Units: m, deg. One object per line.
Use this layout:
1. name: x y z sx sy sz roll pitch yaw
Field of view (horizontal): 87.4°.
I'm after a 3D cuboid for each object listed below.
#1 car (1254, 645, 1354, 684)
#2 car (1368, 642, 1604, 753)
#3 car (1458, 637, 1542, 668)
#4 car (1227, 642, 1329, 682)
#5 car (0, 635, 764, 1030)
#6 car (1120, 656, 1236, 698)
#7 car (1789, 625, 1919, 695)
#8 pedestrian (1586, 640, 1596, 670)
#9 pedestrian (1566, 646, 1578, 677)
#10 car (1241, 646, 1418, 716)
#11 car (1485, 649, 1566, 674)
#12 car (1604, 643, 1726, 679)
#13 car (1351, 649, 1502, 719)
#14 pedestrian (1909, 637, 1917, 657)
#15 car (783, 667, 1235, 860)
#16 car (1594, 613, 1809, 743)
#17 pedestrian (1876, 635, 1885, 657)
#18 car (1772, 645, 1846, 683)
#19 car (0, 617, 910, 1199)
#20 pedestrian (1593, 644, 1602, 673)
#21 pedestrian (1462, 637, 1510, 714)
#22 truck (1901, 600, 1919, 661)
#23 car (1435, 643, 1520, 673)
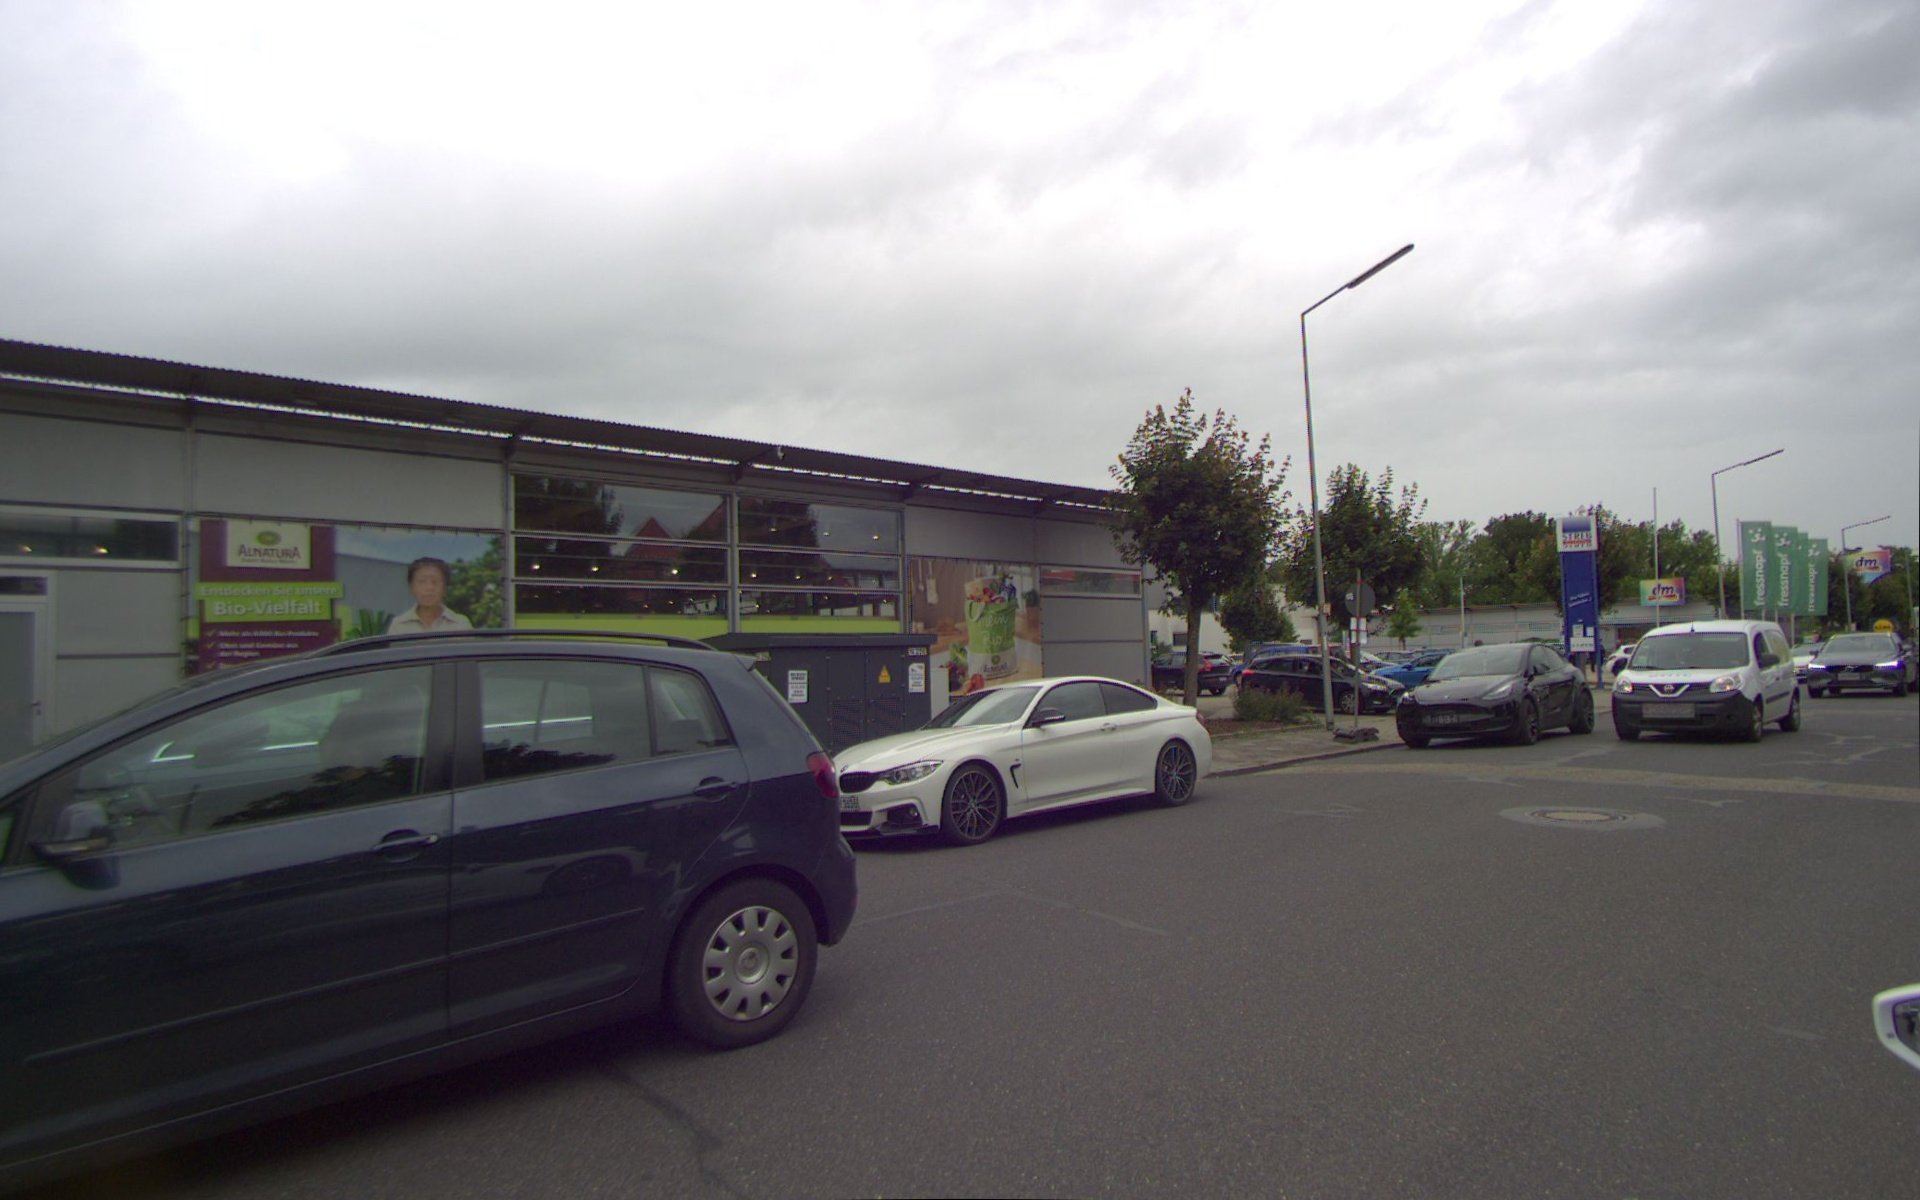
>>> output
1. car: 15.850 3.000 46.434 1.861 1.690 3.955 1 -4 -40
2. car: 8.819 1.581 16.684 4.369 1.545 1.931 2 -8 -42
3. car: 32.137 3.143 59.867 1.861 1.690 3.955 1 -4 -40
4. car: 14.121 2.779 44.773 1.861 1.690 3.955 1 -4 -40
5. car: -3.747 1.165 6.079 4.690 1.712 1.852 1 -8 -40
6. car: 8.363 2.988 38.750 3.939 1.504 1.869 -4 -5 38
7. car: 23.958 1.587 26.792 4.457 1.705 1.919 1 -5 -39
8. pedestrian: 33.446 2.908 53.265 0.354 1.590 0.502 -3 -4 36
9. pedestrian: 33.170 3.310 54.428 0.449 1.663 0.373 -3 -3 32
10. car: 9.461 2.018 25.927 1.912 1.642 3.842 1 -3 -40
11. car: 35.201 3.834 62.590 1.771 1.511 3.956 1 -4 -39
12. car: 31.017 2.709 44.259 4.158 1.482 1.943 -5 -5 42
13. car: 14.457 2.588 31.249 3.888 2.039 1.751 -4 -4 43
14. pedestrian: 76.773 3.798 80.929 0.397 1.551 0.482 -4 -4 43
15. car: 0.660 1.478 9.908 4.484 1.384 1.685 2 -9 -42
16. car: 11.662 1.177 15.714 4.100 1.783 1.677 1 -6 -40
17. pedestrian: 65.244 3.268 71.192 0.397 1.551 0.483 -4 -4 43
18. car: 32.802 2.458 38.773 1.879 1.384 3.976 -5 -5 44
19. car: -2.262 0.923 3.654 3.915 1.592 1.715 2 -5 -41
20. pedestrian: 34.233 3.142 53.957 0.325 1.590 0.502 -4 -4 35
21. pedestrian: 12.072 1.716 23.066 0.692 1.737 0.767 2 -3 -45
22. truck: 66.742 2.012 68.449 6.353 4.006 2.950 1 -5 -41
23. car: 30.154 3.399 58.574 1.861 1.690 3.955 1 -4 -40
